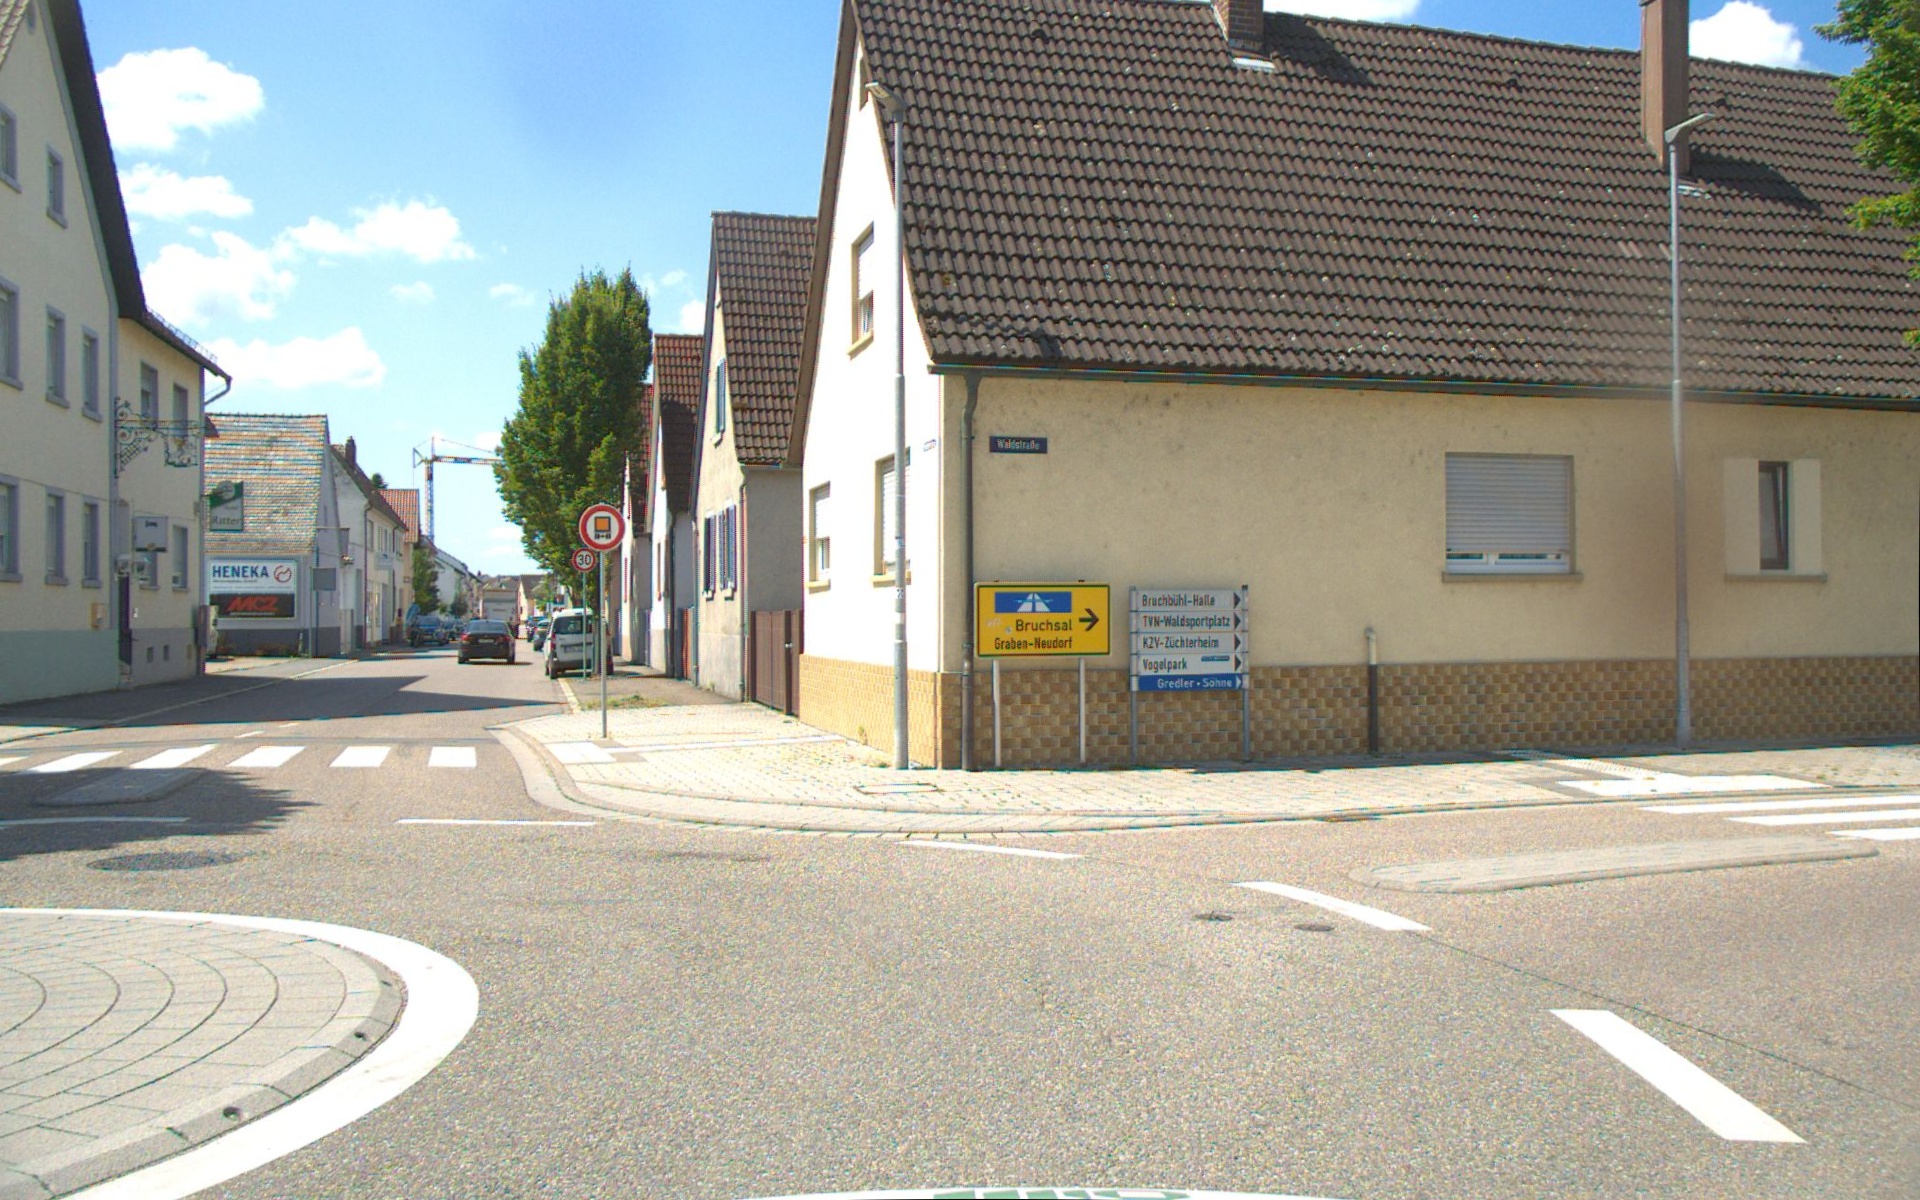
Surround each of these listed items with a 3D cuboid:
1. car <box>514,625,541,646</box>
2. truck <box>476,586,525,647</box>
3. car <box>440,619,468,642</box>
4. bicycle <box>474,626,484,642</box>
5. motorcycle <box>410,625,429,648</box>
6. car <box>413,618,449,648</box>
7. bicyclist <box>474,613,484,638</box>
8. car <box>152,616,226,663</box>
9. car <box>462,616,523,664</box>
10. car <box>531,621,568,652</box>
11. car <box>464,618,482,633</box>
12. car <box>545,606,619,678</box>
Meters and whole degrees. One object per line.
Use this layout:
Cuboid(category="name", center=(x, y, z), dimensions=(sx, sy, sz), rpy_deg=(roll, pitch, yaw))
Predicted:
Cuboid(category="car", center=(-28.228, 2.302, 107.956), dimensions=(1.691, 1.379, 4.140), rpy_deg=(0, -1, -15))
Cuboid(category="truck", center=(-34.332, 1.306, 123.886), dimensions=(3.091, 4.325, 9.267), rpy_deg=(2, -2, -14))
Cuboid(category="car", center=(-35.733, 2.157, 116.899), dimensions=(1.780, 1.617, 3.983), rpy_deg=(0, -1, -16))
Cuboid(category="bicycle", center=(-40.264, 2.822, 138.326), dimensions=(0.739, 1.331, 2.672), rpy_deg=(2, -2, -17))
Cuboid(category="motorcycle", center=(-29.143, 1.983, 89.175), dimensions=(0.832, 1.190, 2.458), rpy_deg=(2, -2, -16))
Cuboid(category="car", center=(-29.755, 1.847, 93.099), dimensions=(1.780, 1.617, 3.983), rpy_deg=(0, -1, -16))
Cuboid(category="bicyclist", center=(-40.238, 2.153, 138.292), dimensions=(0.729, 2.095, 0.840), rpy_deg=(2, -2, -18))
Cuboid(category="car", center=(-27.037, 1.361, 58.106), dimensions=(1.692, 1.583, 4.179), rpy_deg=(1, -1, -17))
Cuboid(category="car", center=(-16.157, 1.367, 57.336), dimensions=(1.870, 1.591, 4.460), rpy_deg=(0, -1, -14))
Cuboid(category="car", center=(-20.069, 1.779, 80.940), dimensions=(1.690, 1.487, 4.142), rpy_deg=(0, -1, -13))
Cuboid(category="car", center=(-54.366, 2.870, 184.639), dimensions=(1.779, 1.617, 3.983), rpy_deg=(0, -1, -15))
Cuboid(category="car", center=(-10.453, 1.122, 45.544), dimensions=(1.692, 1.821, 4.124), rpy_deg=(-2, 0, -17))
